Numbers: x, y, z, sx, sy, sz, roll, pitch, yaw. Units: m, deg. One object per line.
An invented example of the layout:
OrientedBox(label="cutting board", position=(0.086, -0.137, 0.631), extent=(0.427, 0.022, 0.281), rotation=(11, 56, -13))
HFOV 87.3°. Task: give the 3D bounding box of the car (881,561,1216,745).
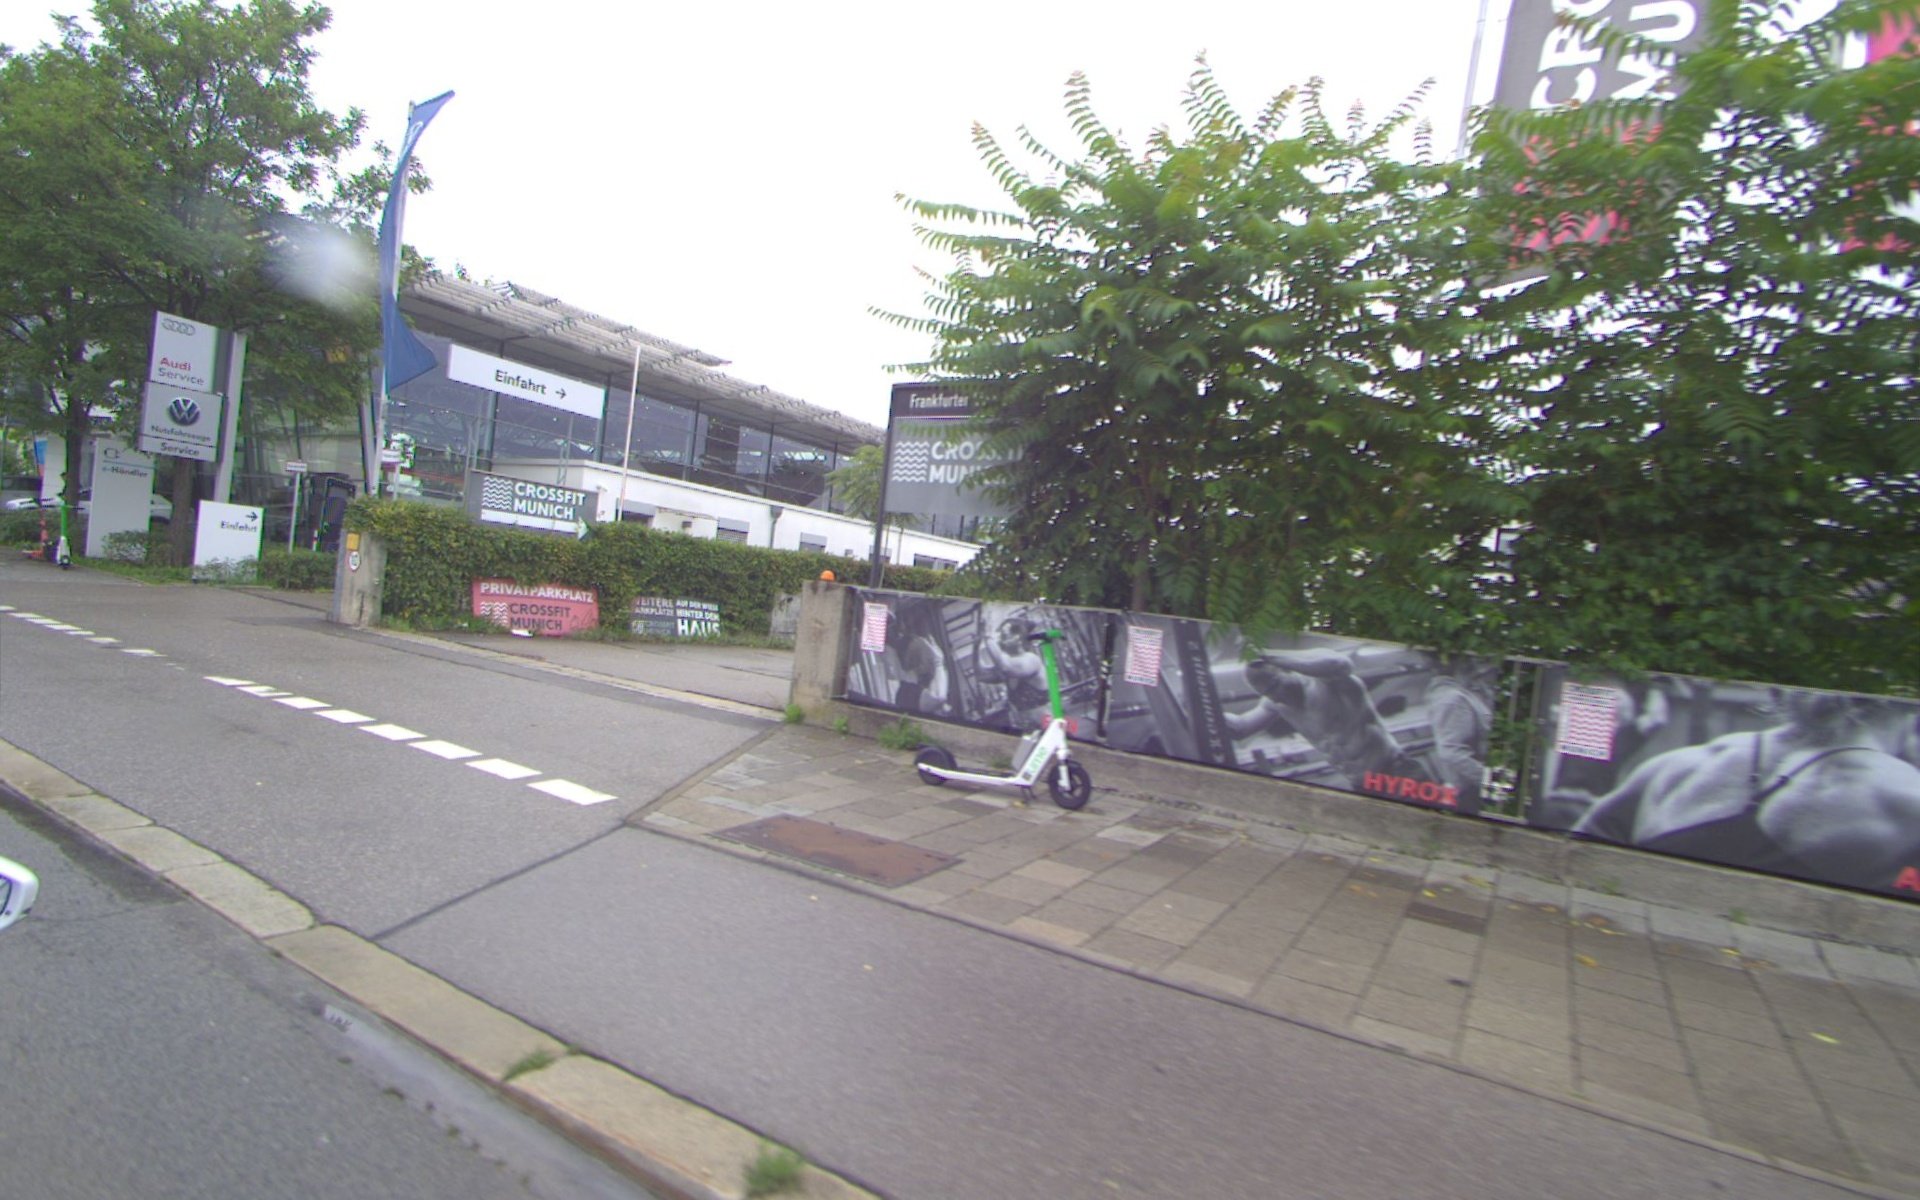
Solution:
OrientedBox(label="car", position=(1.152, 0.580, 10.864), extent=(1.765, 1.478, 4.016), rotation=(6, 0, 34))

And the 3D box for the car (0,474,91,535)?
OrientedBox(label="car", position=(-31.625, -3.238, 32.826), extent=(1.969, 1.729, 4.603), rotation=(5, 1, 14))

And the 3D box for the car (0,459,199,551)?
OrientedBox(label="car", position=(-24.216, -2.611, 28.282), extent=(4.213, 2.040, 1.947), rotation=(4, 1, -32))

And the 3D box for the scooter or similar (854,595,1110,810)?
OrientedBox(label="scooter or similar", position=(0.131, 0.650, 6.819), extent=(1.609, 1.239, 0.397), rotation=(5, 3, 21))

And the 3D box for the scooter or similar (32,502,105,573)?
OrientedBox(label="scooter or similar", position=(-16.704, -1.167, 18.845), extent=(1.404, 1.221, 0.496), rotation=(6, 3, 25))

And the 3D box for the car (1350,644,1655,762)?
OrientedBox(label="car", position=(9.734, 1.781, 18.219), extent=(4.546, 1.404, 1.921), rotation=(6, -1, 35))

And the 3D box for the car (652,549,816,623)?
OrientedBox(label="car", position=(-6.215, -0.347, 28.082), extent=(1.830, 1.602, 4.265), rotation=(8, 1, 33))

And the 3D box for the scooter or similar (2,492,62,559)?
OrientedBox(label="scooter or similar", position=(-18.532, -1.491, 20.078), extent=(1.406, 1.221, 0.495), rotation=(7, 4, 32))

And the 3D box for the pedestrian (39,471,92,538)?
OrientedBox(label="pedestrian", position=(-25.966, -2.760, 29.209), extent=(0.704, 1.798, 0.805), rotation=(6, 0, -10))
